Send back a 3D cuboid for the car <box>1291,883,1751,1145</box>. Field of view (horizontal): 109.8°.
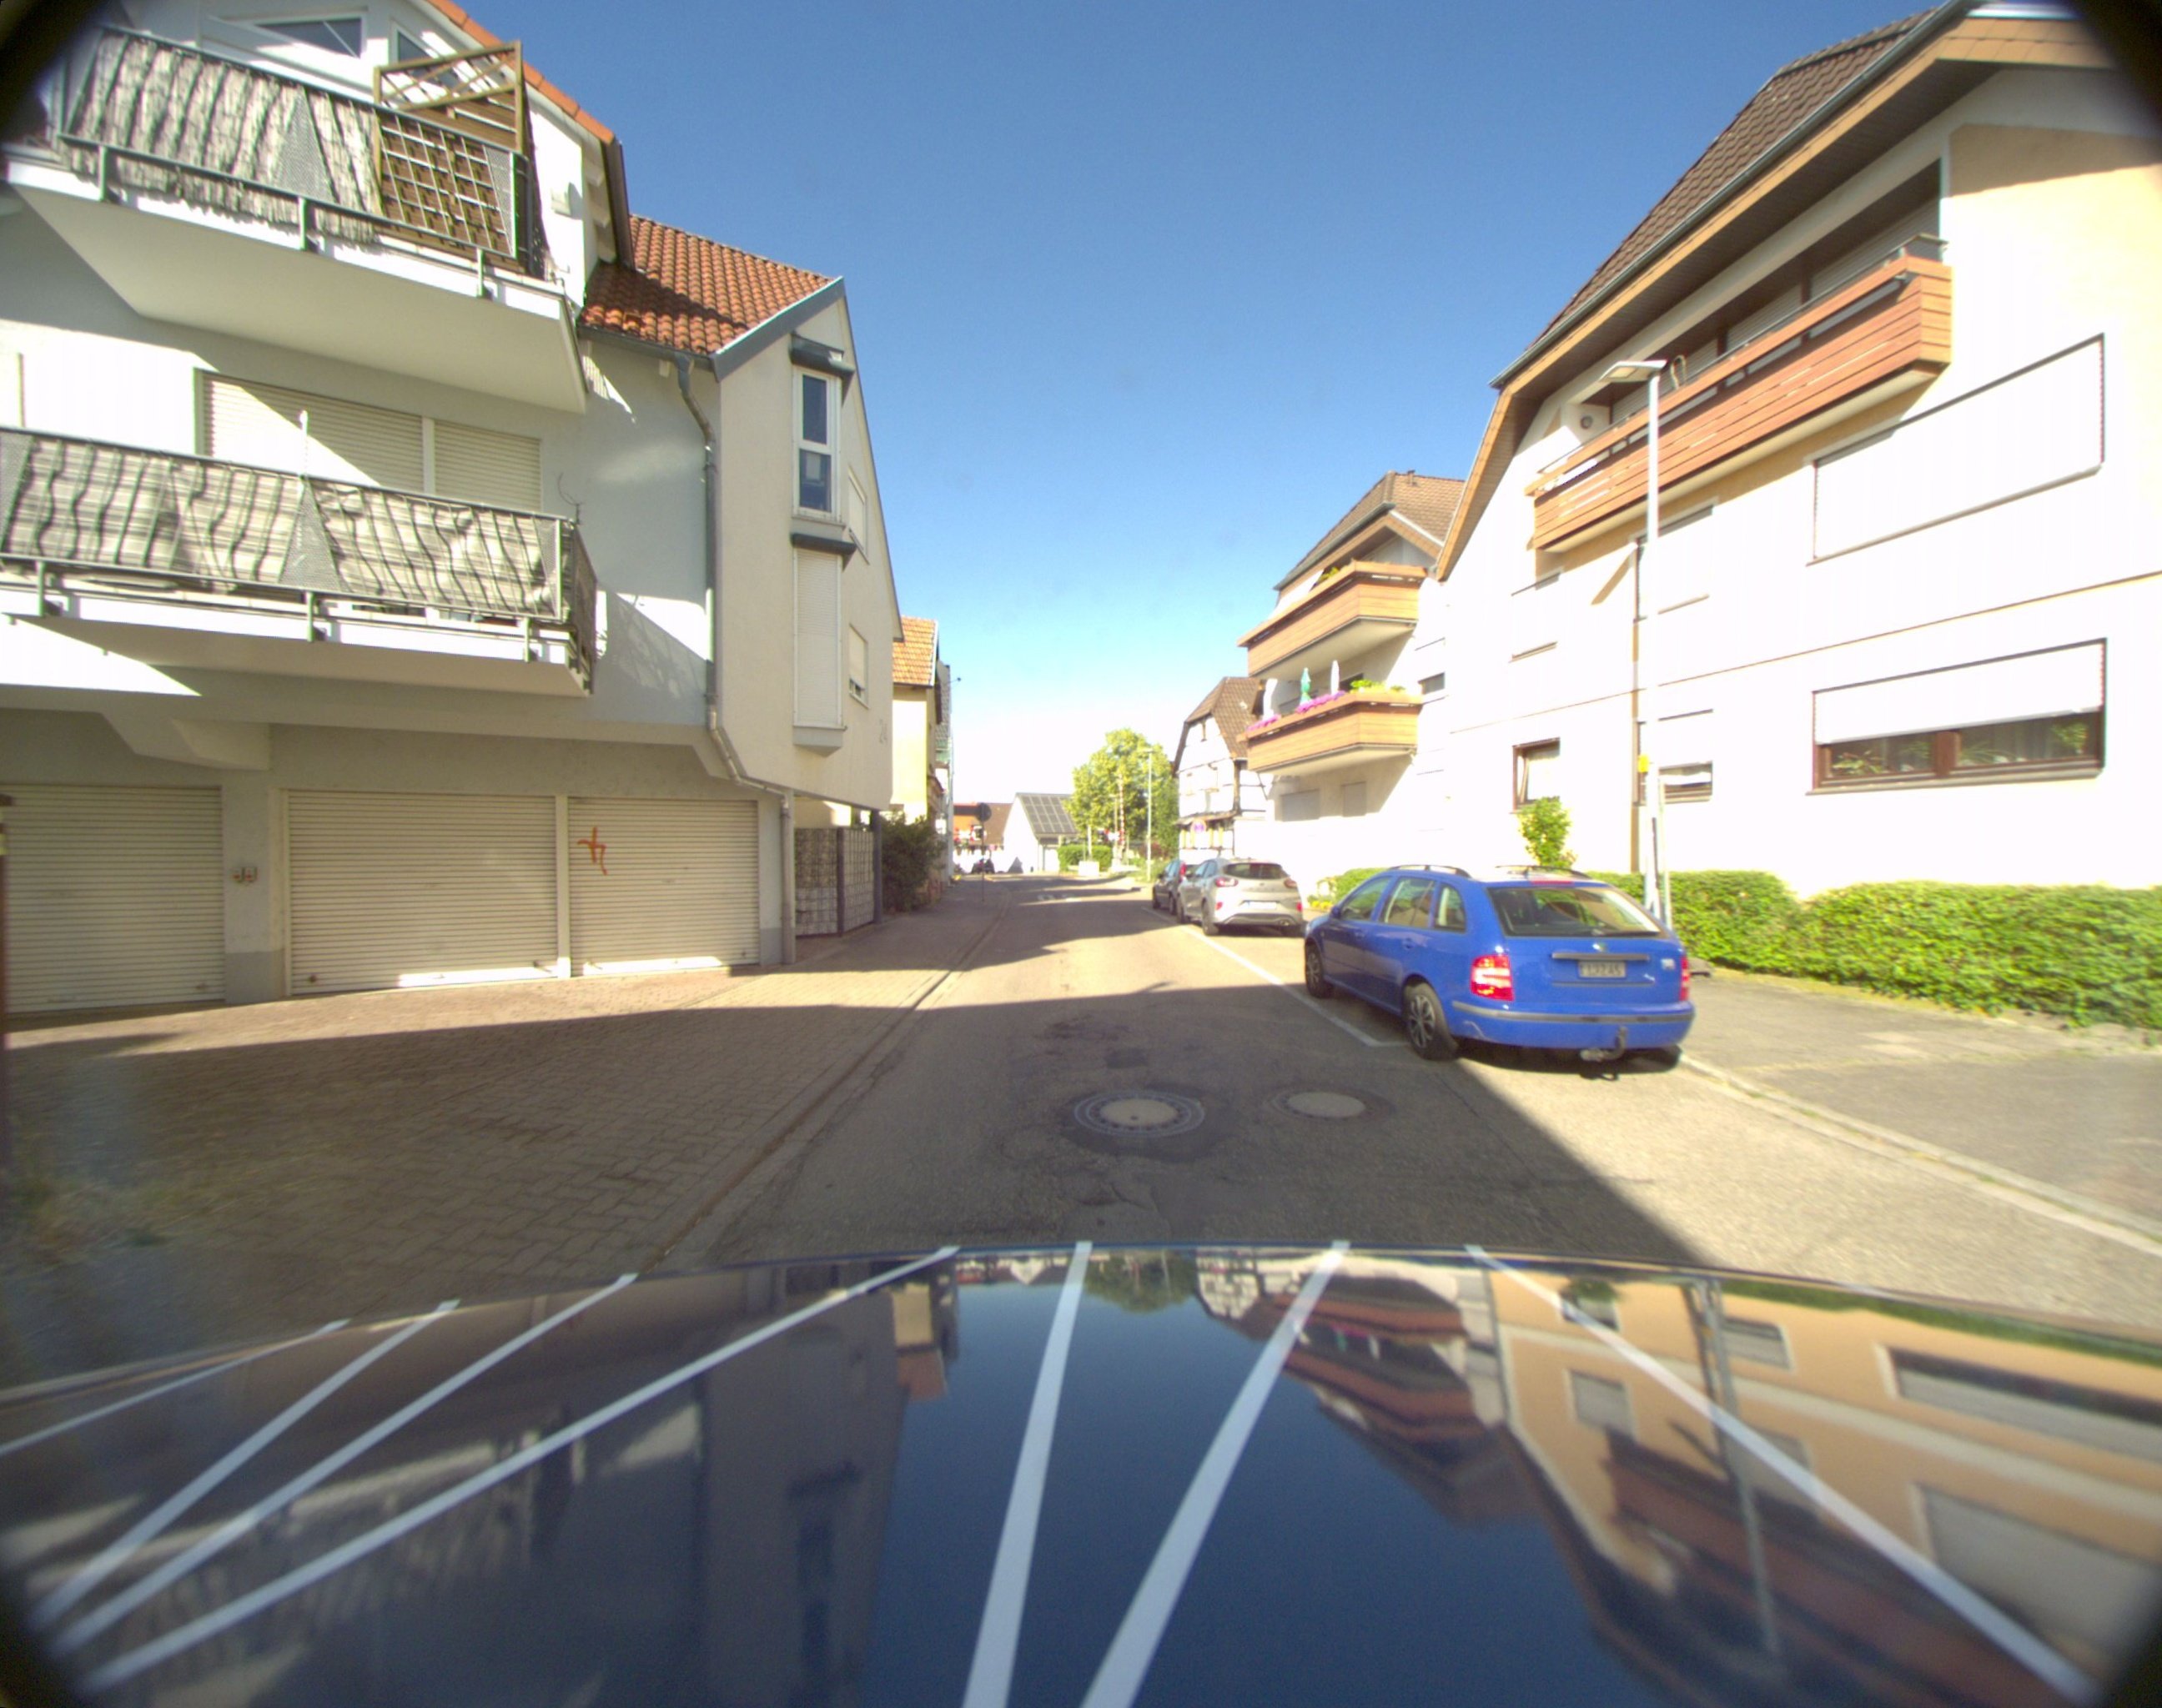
[{"bbox_3d":[3.226,1.053,6.597,1.622,1.430,3.956,1,0,-1],"label":"car"}]

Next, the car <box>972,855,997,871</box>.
[{"bbox_3d":[-9.364,0.868,73.652,1.549,1.450,3.708,0,0,-22],"label":"car"}]

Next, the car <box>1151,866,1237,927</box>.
[{"bbox_3d":[2.994,1.092,20.842,1.628,1.468,3.614,1,0,-3],"label":"car"}]

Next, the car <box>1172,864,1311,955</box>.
[{"bbox_3d":[3.101,1.017,15.505,1.763,1.547,3.999,1,0,-3],"label":"car"}]
